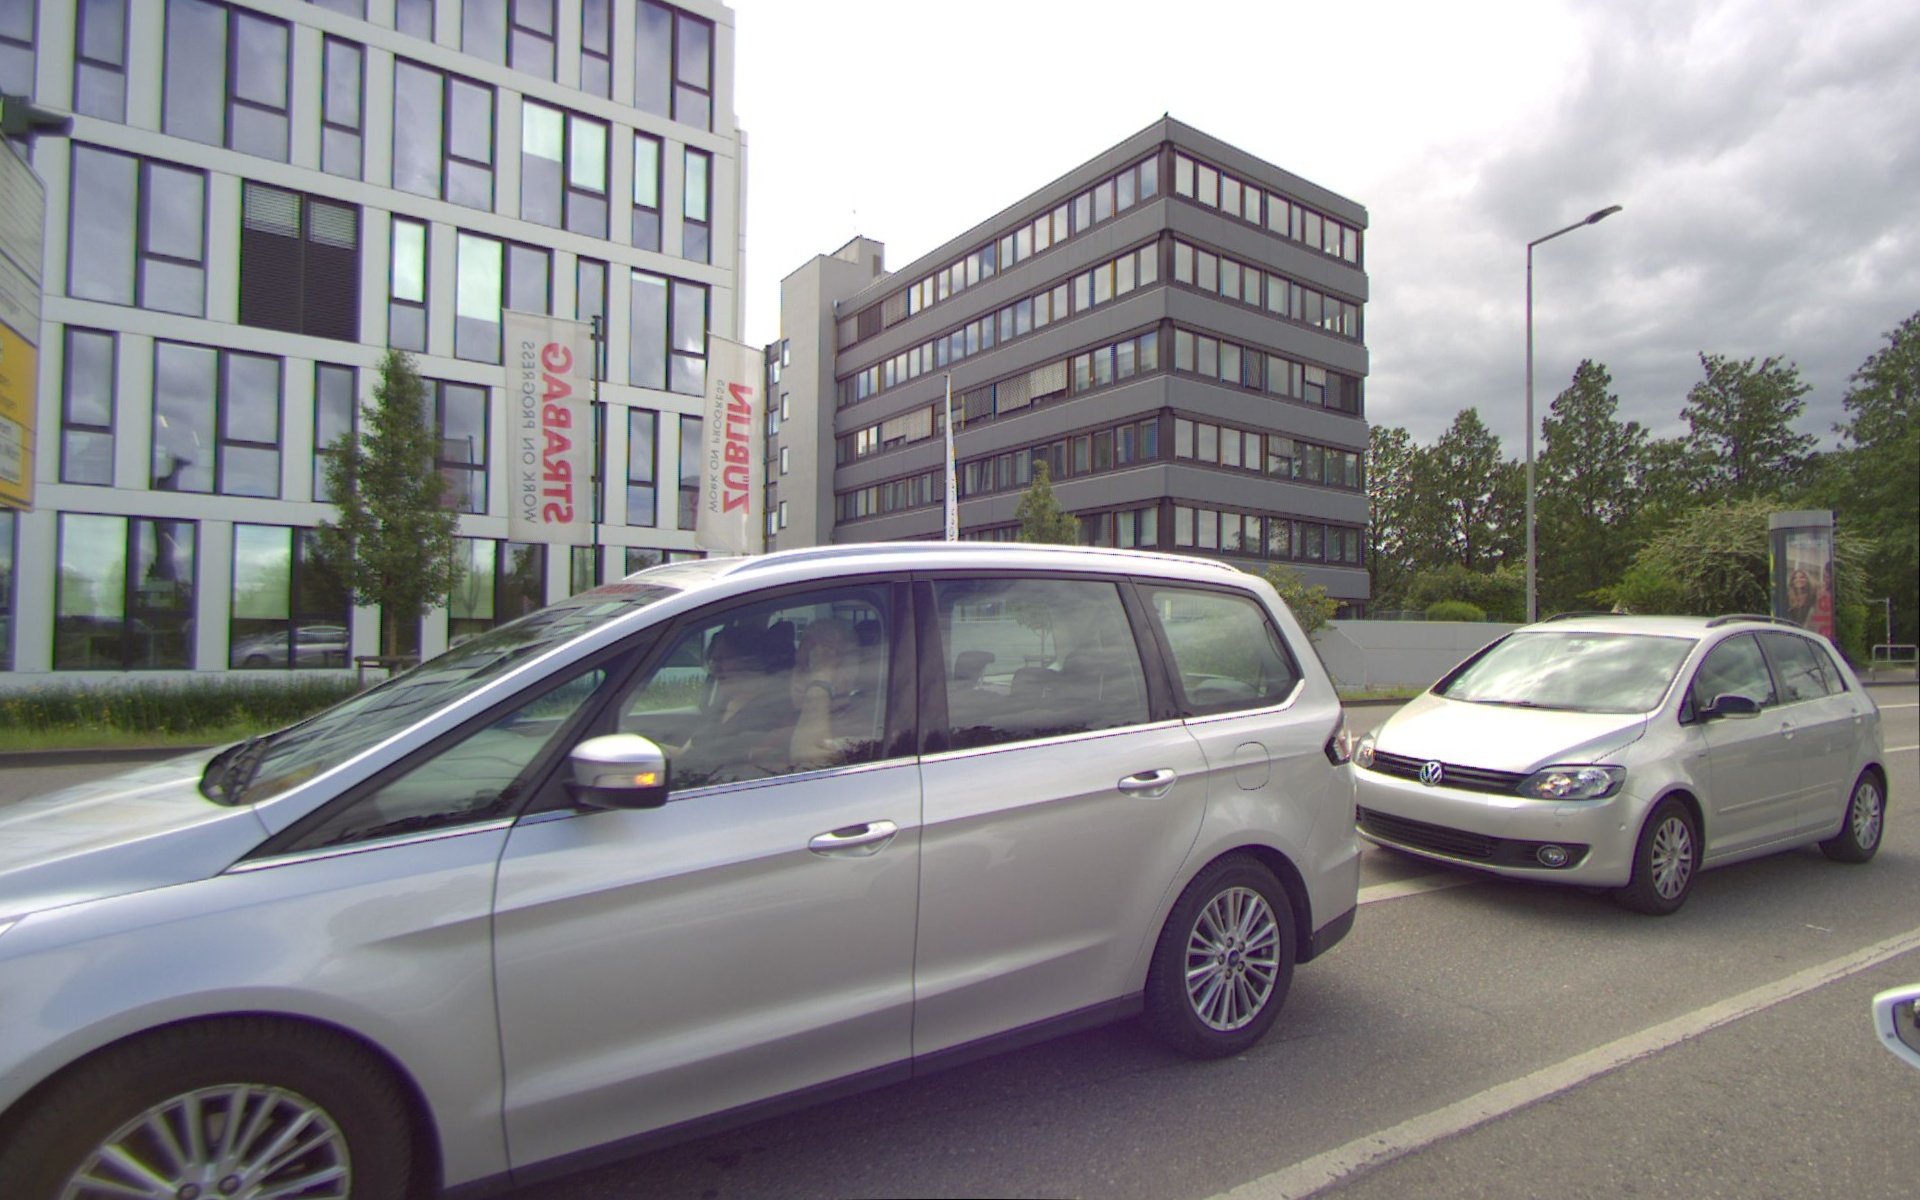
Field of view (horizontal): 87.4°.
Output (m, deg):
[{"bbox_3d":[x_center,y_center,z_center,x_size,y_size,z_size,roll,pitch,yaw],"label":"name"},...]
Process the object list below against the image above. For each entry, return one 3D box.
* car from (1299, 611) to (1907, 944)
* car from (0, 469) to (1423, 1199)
[{"bbox_3d":[4.229,0.882,6.456,4.037,1.538,1.652,1,0,-31],"label":"car"},{"bbox_3d":[-0.638,0.665,3.378,4.595,1.709,1.810,1,0,-33],"label":"car"}]
